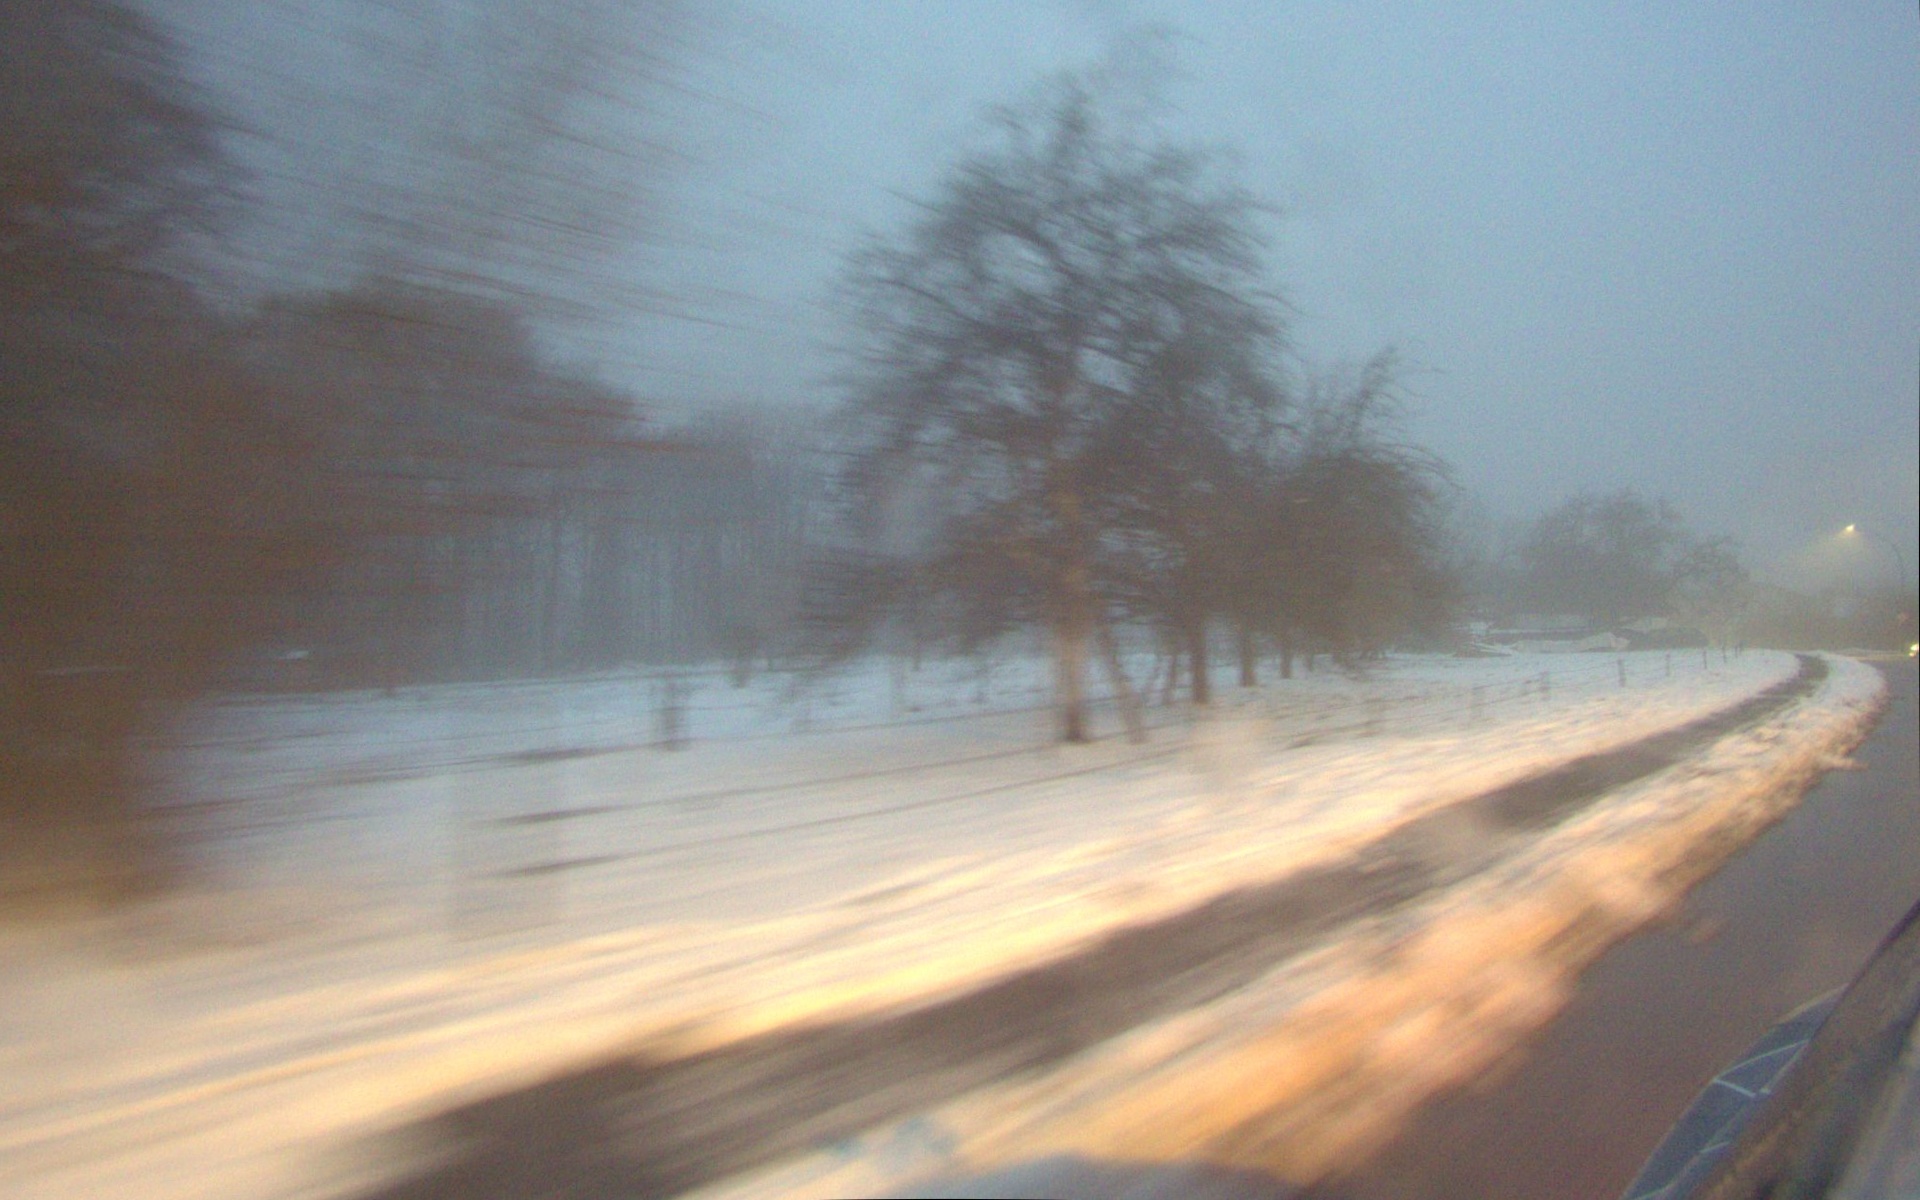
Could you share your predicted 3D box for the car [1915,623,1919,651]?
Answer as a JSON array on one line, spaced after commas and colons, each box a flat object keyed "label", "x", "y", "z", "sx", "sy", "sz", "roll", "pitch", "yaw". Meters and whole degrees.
[{"label": "car", "x": 48.368, "y": 1.796, "z": 49.186, "sx": 1.869, "sy": 1.445, "sz": 5.325, "roll": -1, "pitch": -3, "yaw": 33}]

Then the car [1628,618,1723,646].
[{"label": "car", "x": 42.650, "y": 1.931, "z": 60.446, "sx": 4.433, "sy": 1.400, "sz": 2.009, "roll": -5, "pitch": -5, "yaw": 35}]

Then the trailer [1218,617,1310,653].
[{"label": "trailer", "x": 17.571, "y": 2.054, "z": 58.491, "sx": 4.715, "sy": 1.968, "sz": 2.200, "roll": -1, "pitch": -3, "yaw": 30}]
